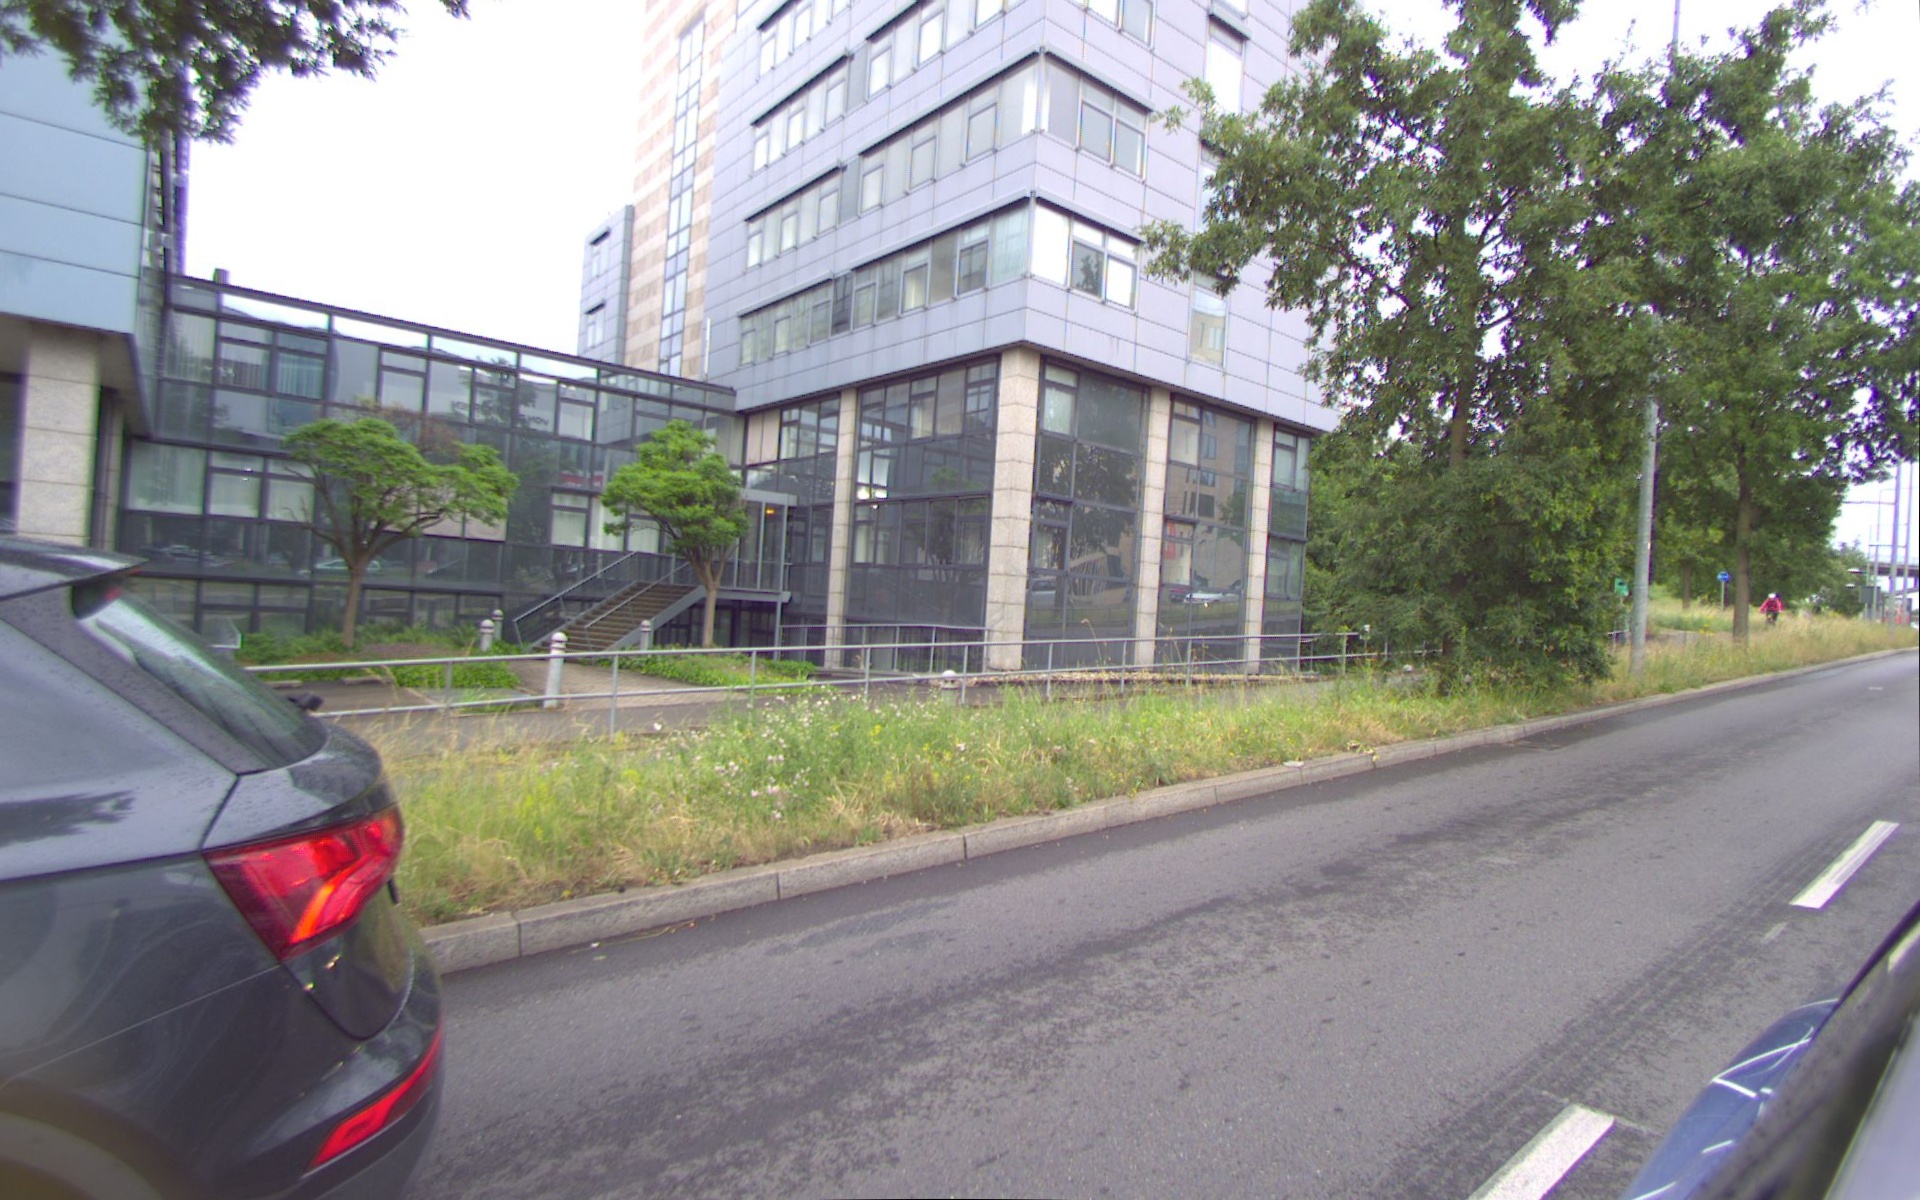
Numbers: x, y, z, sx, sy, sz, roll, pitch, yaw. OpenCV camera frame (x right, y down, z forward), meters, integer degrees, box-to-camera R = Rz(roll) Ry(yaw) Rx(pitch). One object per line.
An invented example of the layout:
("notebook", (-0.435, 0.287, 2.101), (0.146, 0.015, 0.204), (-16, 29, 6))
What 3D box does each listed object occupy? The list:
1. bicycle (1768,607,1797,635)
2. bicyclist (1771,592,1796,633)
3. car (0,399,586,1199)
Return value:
("bicycle", (32.963, 0.842, 40.546), (1.872, 1.102, 0.581), (1, -1, -41))
("bicyclist", (32.976, 0.496, 40.534), (0.839, 1.599, 0.647), (1, -1, -41))
("car", (-2.906, 0.541, 1.022), (4.392, 1.633, 1.821), (0, 1, -41))
